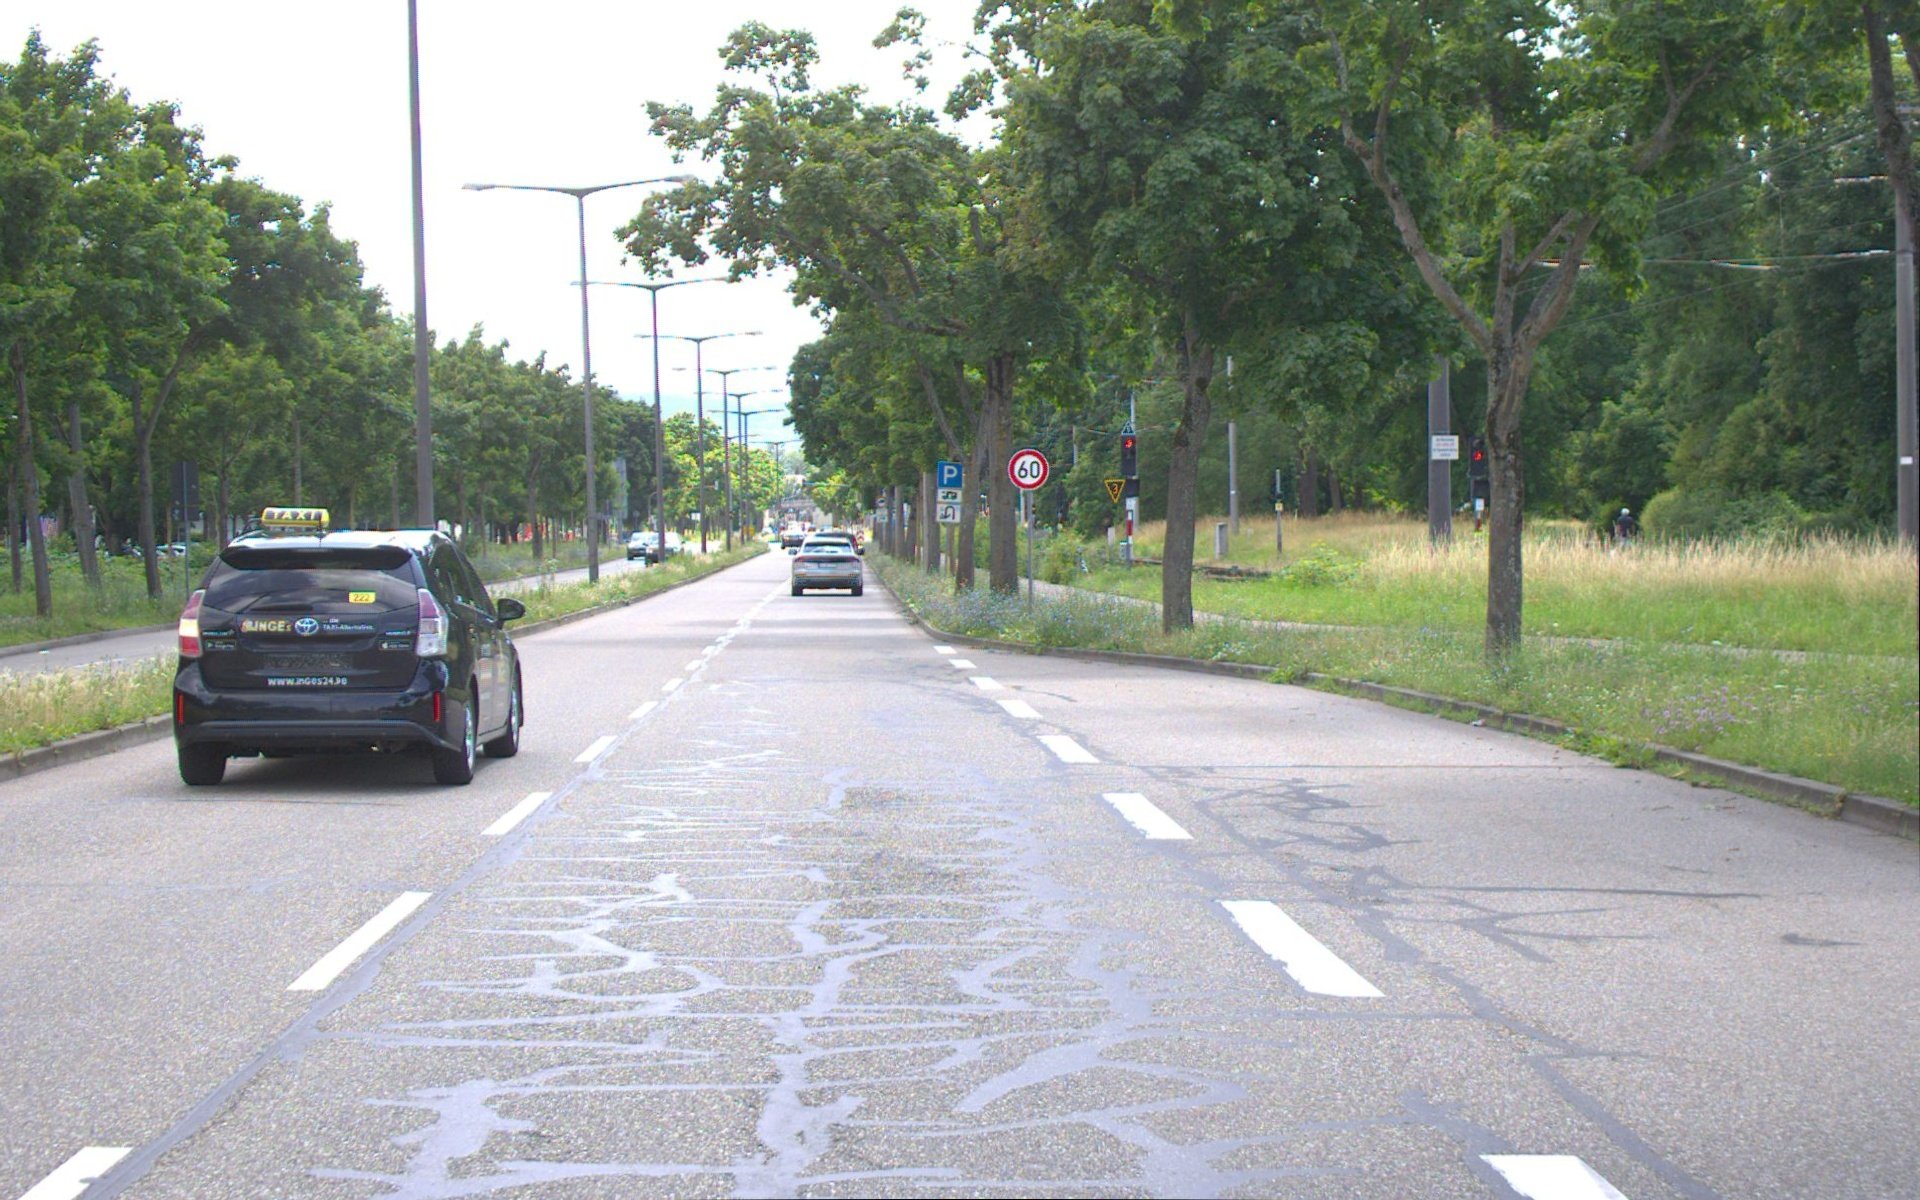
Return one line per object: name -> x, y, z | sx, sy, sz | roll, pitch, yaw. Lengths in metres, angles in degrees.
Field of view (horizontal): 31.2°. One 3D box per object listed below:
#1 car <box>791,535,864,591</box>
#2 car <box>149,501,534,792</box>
car -> -3.752, -1.057, 97.039 | 1.993, 1.503, 4.001 | 0, 1, -3
car -> -3.846, 0.219, 21.999 | 1.779, 1.678, 4.000 | 1, 1, -1
